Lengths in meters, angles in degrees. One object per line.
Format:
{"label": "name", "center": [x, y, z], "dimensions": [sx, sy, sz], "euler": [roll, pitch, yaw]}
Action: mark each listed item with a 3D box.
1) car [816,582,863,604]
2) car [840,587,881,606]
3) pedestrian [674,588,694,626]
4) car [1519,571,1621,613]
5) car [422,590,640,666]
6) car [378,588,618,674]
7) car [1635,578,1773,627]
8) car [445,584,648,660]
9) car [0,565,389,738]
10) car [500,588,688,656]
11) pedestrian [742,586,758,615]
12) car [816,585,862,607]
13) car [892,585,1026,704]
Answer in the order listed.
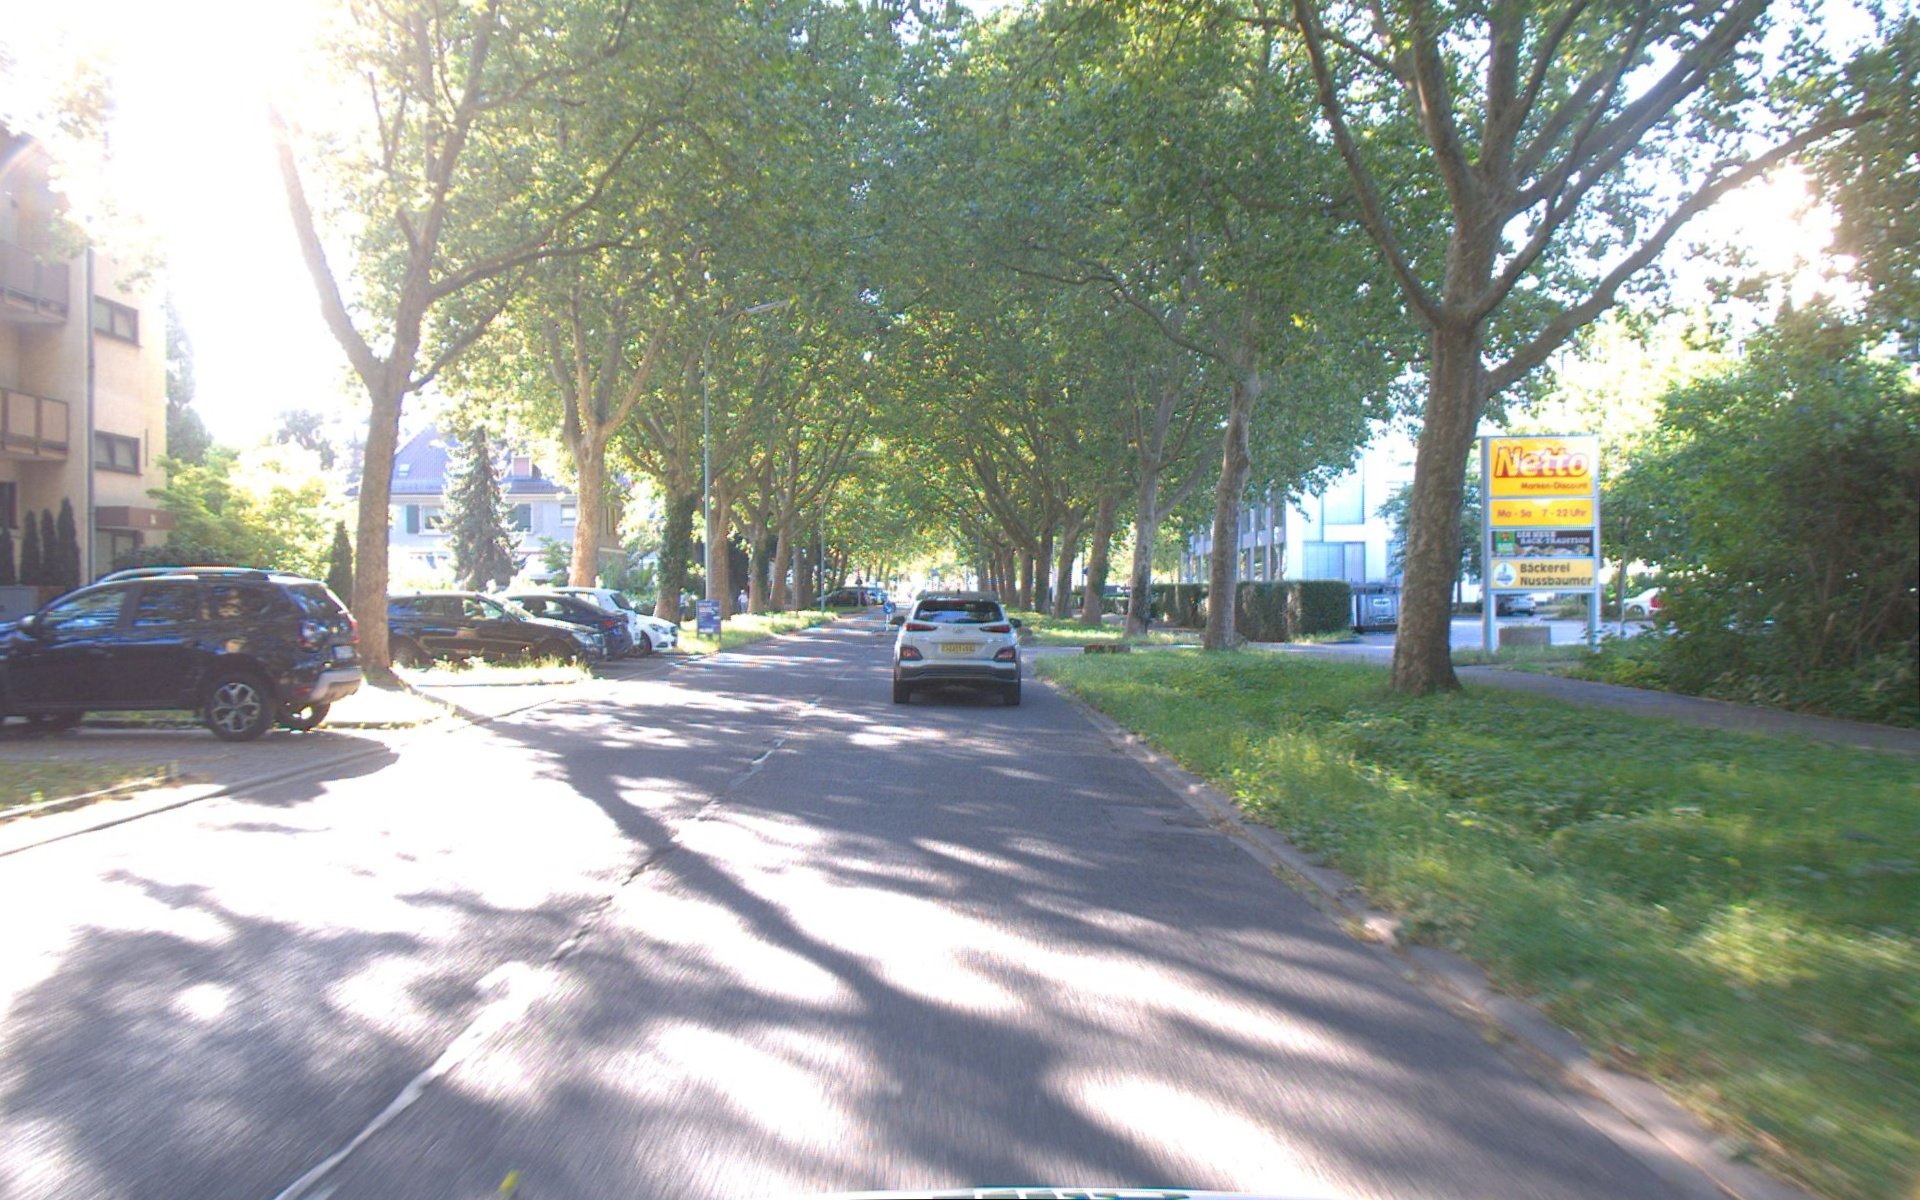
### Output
{"label": "car", "center": [-10.319, -0.589, 141.240], "dimensions": [3.910, 1.803, 1.997], "euler": [1, -1, -6]}
{"label": "car", "center": [-9.860, -0.329, 163.785], "dimensions": [3.910, 1.803, 1.998], "euler": [0, 0, -6]}
{"label": "pedestrian", "center": [-12.803, 0.330, 76.698], "dimensions": [0.734, 1.737, 0.793], "euler": [2, -1, -1]}
{"label": "car", "center": [27.687, -0.363, 75.191], "dimensions": [3.904, 1.803, 2.001], "euler": [-1, 0, 2]}
{"label": "car", "center": [-8.434, 0.536, 32.806], "dimensions": [3.909, 1.449, 1.807], "euler": [0, 0, -5]}
{"label": "car", "center": [-8.397, 0.551, 30.314], "dimensions": [3.907, 1.496, 1.780], "euler": [0, 0, -2]}
{"label": "car", "center": [25.360, 0.082, 56.422], "dimensions": [3.910, 1.594, 1.861], "euler": [0, 0, -6]}
{"label": "car", "center": [-8.786, 0.454, 35.373], "dimensions": [3.907, 1.546, 1.808], "euler": [0, 0, -2]}
{"label": "car", "center": [-8.320, 0.508, 17.234], "dimensions": [4.158, 1.709, 1.670], "euler": [0, 0, -2]}
{"label": "car", "center": [-8.386, 0.490, 38.099], "dimensions": [3.905, 1.496, 1.809], "euler": [0, 0, 0]}
{"label": "pedestrian", "center": [-12.456, 0.028, 98.036], "dimensions": [0.740, 1.737, 0.787], "euler": [1, -1, -25]}
{"label": "car", "center": [-10.589, -0.351, 144.849], "dimensions": [3.910, 1.803, 1.997], "euler": [1, -1, -6]}
{"label": "car", "center": [-0.056, 0.608, 24.293], "dimensions": [1.798, 1.583, 3.999], "euler": [1, 0, -1]}
